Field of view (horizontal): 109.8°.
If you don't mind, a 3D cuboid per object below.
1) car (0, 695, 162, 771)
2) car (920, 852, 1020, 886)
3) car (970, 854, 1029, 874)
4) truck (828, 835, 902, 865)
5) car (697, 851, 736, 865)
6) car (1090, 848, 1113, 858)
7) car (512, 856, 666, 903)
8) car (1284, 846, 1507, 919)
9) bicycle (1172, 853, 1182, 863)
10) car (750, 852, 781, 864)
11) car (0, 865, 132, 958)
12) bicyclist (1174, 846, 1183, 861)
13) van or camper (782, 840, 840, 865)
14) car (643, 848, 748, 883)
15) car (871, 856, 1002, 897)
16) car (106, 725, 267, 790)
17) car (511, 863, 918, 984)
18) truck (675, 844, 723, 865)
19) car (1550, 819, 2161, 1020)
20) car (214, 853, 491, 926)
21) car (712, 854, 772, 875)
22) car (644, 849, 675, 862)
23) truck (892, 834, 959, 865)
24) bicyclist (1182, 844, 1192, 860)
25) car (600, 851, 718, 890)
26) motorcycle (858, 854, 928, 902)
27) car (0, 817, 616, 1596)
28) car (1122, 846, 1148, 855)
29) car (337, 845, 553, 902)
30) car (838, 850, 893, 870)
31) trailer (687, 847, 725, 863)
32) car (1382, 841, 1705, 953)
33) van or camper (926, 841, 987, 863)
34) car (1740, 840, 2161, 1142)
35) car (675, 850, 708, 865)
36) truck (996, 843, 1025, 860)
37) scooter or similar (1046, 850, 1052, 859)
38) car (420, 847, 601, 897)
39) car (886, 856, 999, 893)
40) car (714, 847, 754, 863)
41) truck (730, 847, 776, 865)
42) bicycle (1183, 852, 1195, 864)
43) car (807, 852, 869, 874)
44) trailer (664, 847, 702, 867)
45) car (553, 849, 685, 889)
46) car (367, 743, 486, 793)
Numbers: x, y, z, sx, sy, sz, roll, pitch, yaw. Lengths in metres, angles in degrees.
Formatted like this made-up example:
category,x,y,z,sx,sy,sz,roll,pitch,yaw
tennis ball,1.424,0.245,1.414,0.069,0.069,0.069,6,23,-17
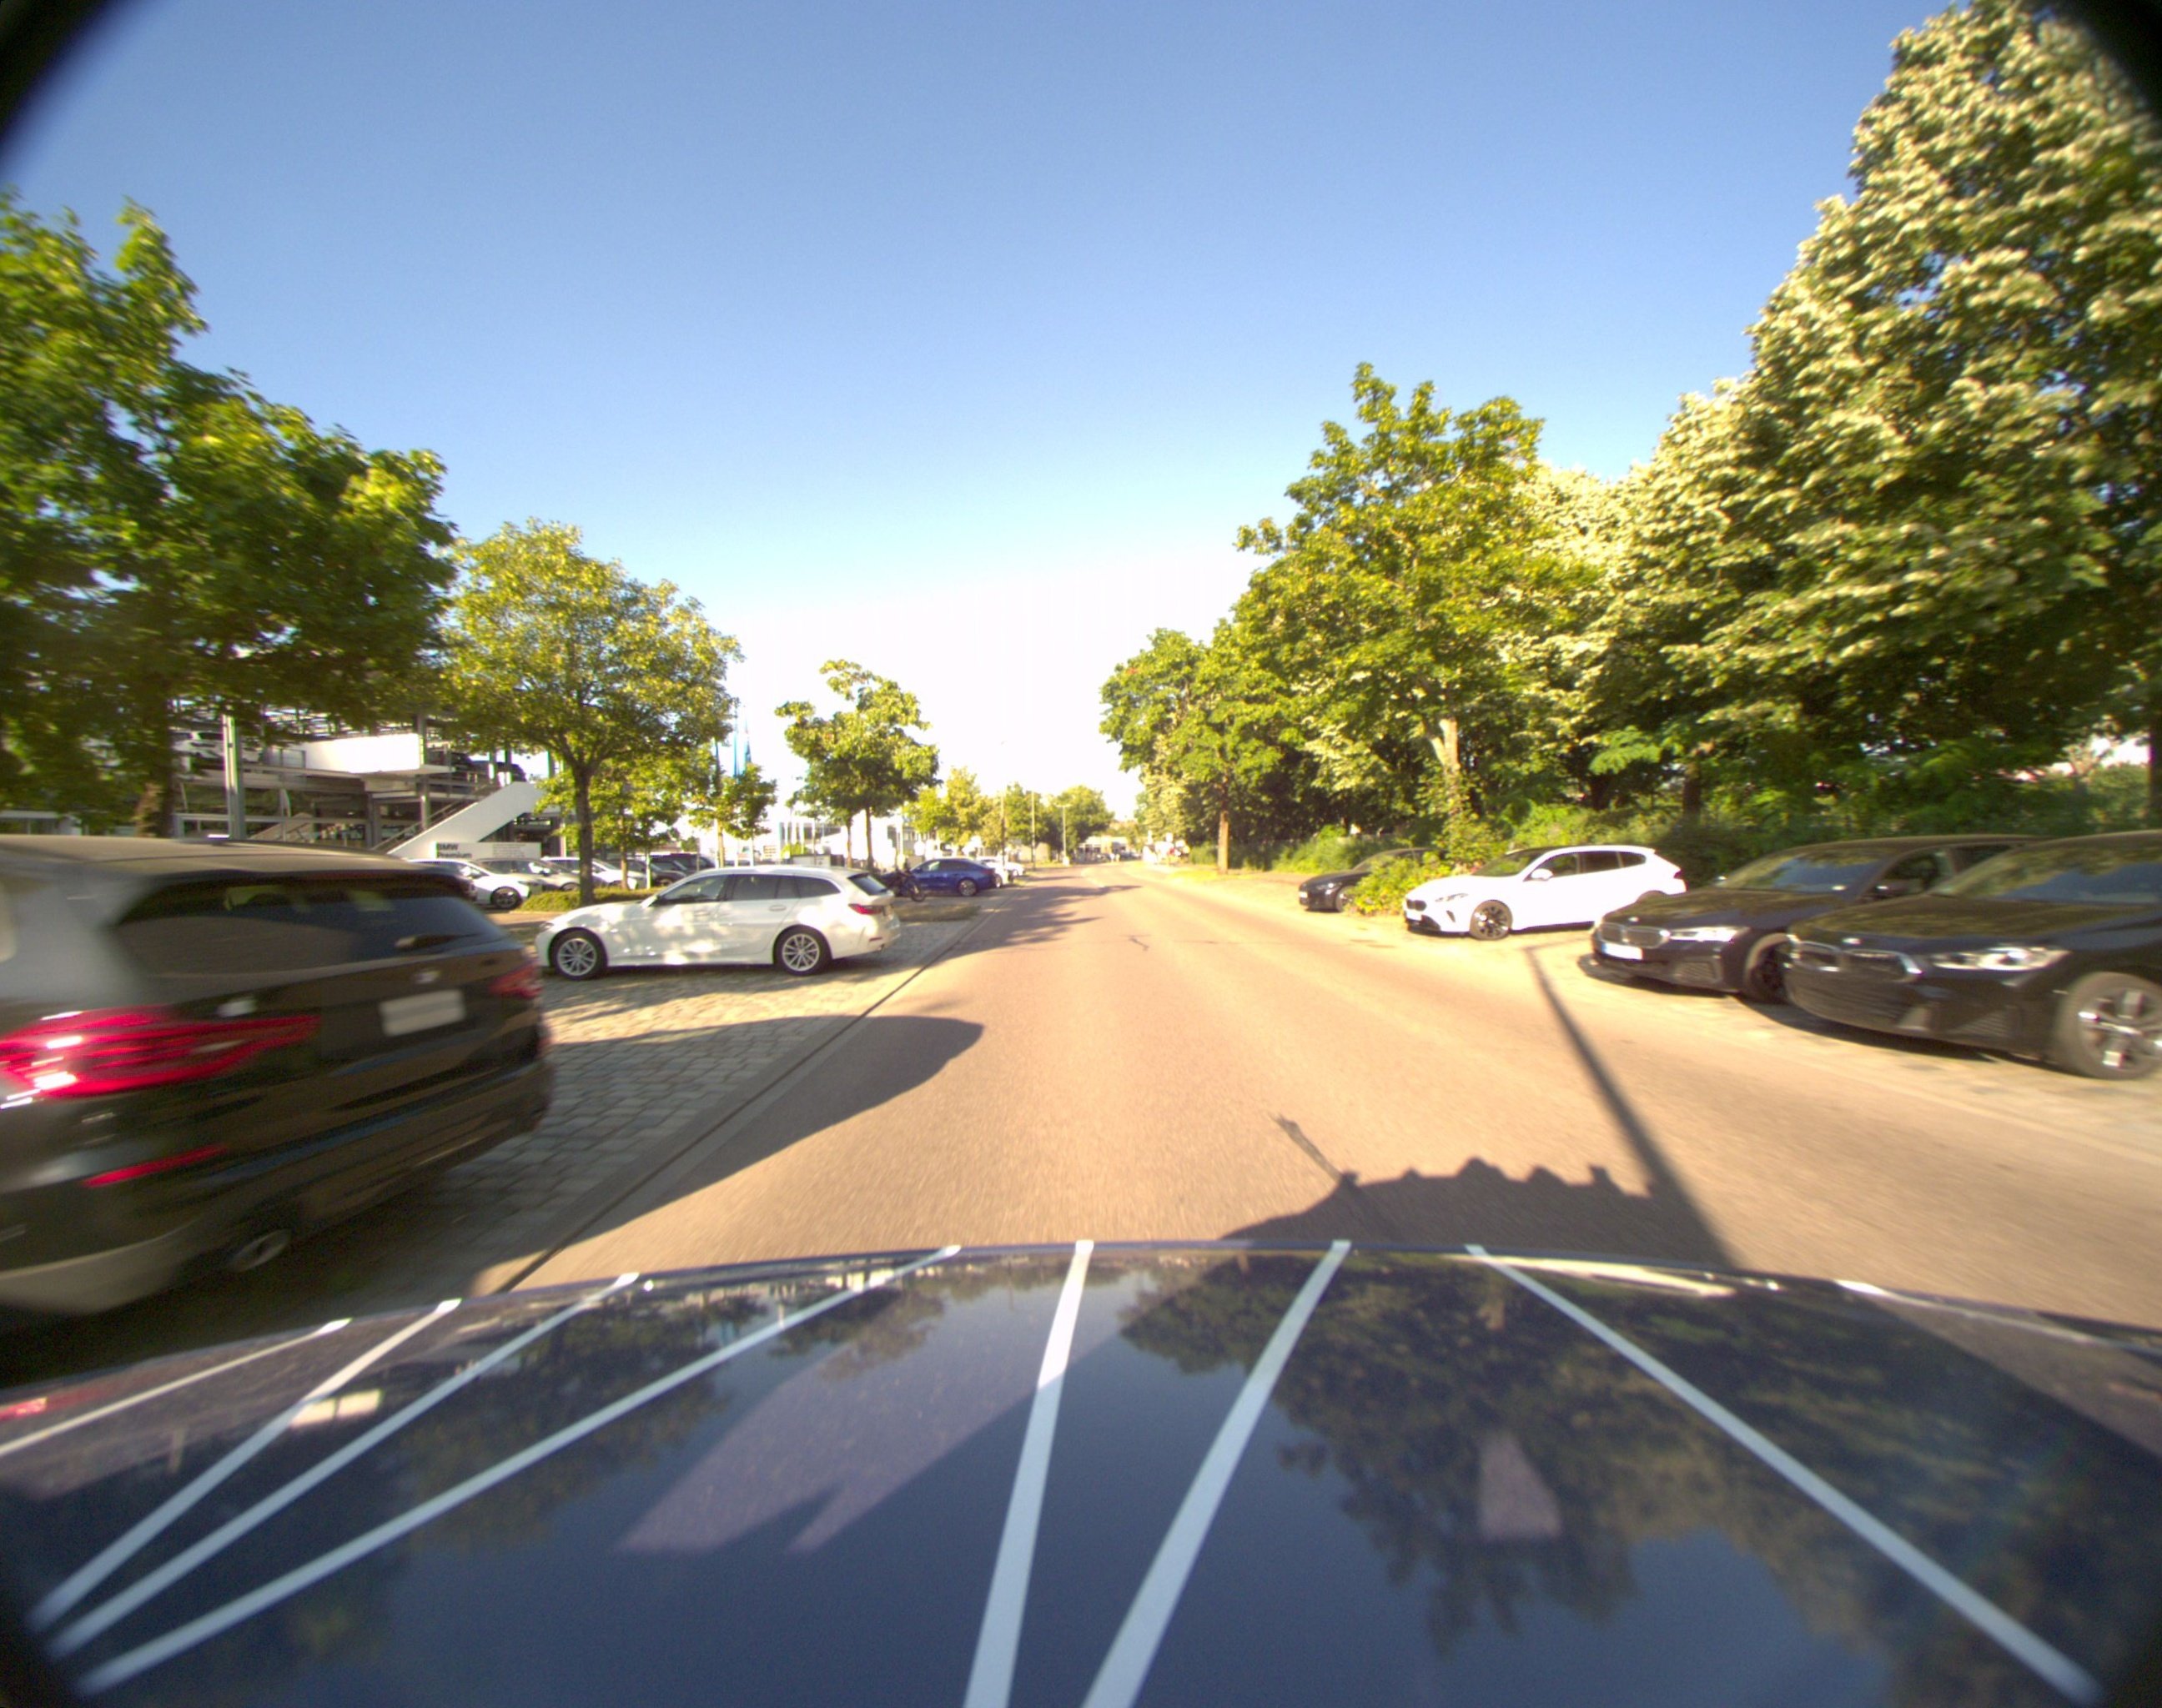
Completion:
category,x,y,z,sx,sy,sz,roll,pitch,yaw
car,-30.939,-3.639,23.327,3.993,1.656,1.789,-4,0,13
car,-5.258,0.687,36.461,4.603,1.575,1.999,0,1,-4
car,-5.985,0.732,56.433,4.210,1.435,2.087,0,1,-3
truck,-27.814,-0.458,97.445,10.091,3.623,3.302,-1,1,34
car,-55.279,0.541,115.195,1.995,2.002,5.060,-1,0,29
car,4.643,-0.195,172.608,4.833,2.002,2.304,-1,0,39
car,-18.773,0.935,29.266,4.609,1.565,1.997,-2,1,-19
car,7.653,0.664,18.782,4.662,1.413,1.916,-4,1,-3
bicycle,10.075,0.437,79.922,0.767,1.033,2.217,-2,0,-1
car,-52.493,0.674,126.467,2.387,2.002,4.007,-1,1,31
car,-20.399,1.024,14.671,5.176,1.562,2.004,-1,1,45
bicyclist,10.148,-0.062,79.244,0.732,1.521,0.951,-1,1,-1
van or camper,-37.111,-0.178,104.462,8.117,3.310,2.418,-1,1,26
car,-19.360,0.526,38.330,4.611,1.657,1.995,0,1,-27
car,-5.440,0.835,29.066,4.637,1.448,2.000,0,1,-1
car,-30.433,-3.237,25.895,3.994,1.656,1.789,-4,0,12
car,-4.854,0.891,10.645,4.707,1.471,1.999,0,1,-1
truck,-66.621,0.107,132.660,2.670,3.555,7.127,-1,1,31
car,7.935,0.572,7.934,4.863,1.522,1.999,-4,1,-4
car,-18.739,0.819,19.954,4.736,1.680,2.405,0,1,-28
car,-28.123,0.858,63.049,3.991,1.570,2.162,-1,3,18
car,-68.473,0.253,123.470,1.995,2.002,4.007,-1,1,30
truck,-18.875,-0.533,92.207,8.230,3.502,3.121,-1,1,35
bicyclist,10.011,-0.216,71.860,0.732,1.521,0.951,-1,1,-1
car,-19.328,0.712,35.018,4.612,1.657,1.995,0,1,-28
motorcycle,-6.064,0.743,24.545,2.132,1.457,0.948,-1,1,-16
car,-4.723,0.848,2.757,4.705,1.741,2.192,-2,1,4
car,12.333,-0.722,173.350,5.275,2.002,2.410,-1,0,39
car,-18.826,0.527,22.817,4.612,1.565,1.995,0,1,-28
car,-18.211,0.536,64.178,3.991,1.569,2.002,-1,1,18
trailer,-58.205,0.132,118.090,1.995,2.422,4.867,-1,1,31
car,7.752,0.678,13.083,4.297,1.522,2.000,-4,1,0
van or camper,-17.008,-0.241,103.598,7.989,2.883,2.948,-1,1,30
car,7.735,0.728,5.315,4.491,1.522,2.000,-4,1,-1
car,-60.705,0.479,118.334,2.083,2.264,4.007,-1,1,31
truck,-11.346,-0.443,122.297,2.541,2.704,5.979,-1,0,16
scooter or similar,-4.842,0.110,114.736,0.547,1.328,1.483,-1,1,13
car,-19.086,0.541,25.718,4.612,1.565,1.995,0,1,-28
car,-5.739,0.818,31.885,4.388,1.471,2.000,0,1,-1
car,-50.874,0.155,111.595,1.995,2.002,5.060,-4,0,29
truck,-55.007,0.351,127.632,1.994,2.889,7.127,-1,1,31
bicycle,10.209,0.369,71.797,0.767,1.033,2.217,-2,0,-1
car,-18.280,0.651,57.267,3.991,1.569,2.002,-1,1,18
trailer,-63.147,0.486,120.568,1.995,3.051,4.867,-1,1,31
car,-19.310,0.593,32.041,4.612,1.565,1.995,0,1,-28
car,-28.633,-3.736,33.276,3.994,1.656,1.789,-4,0,12
